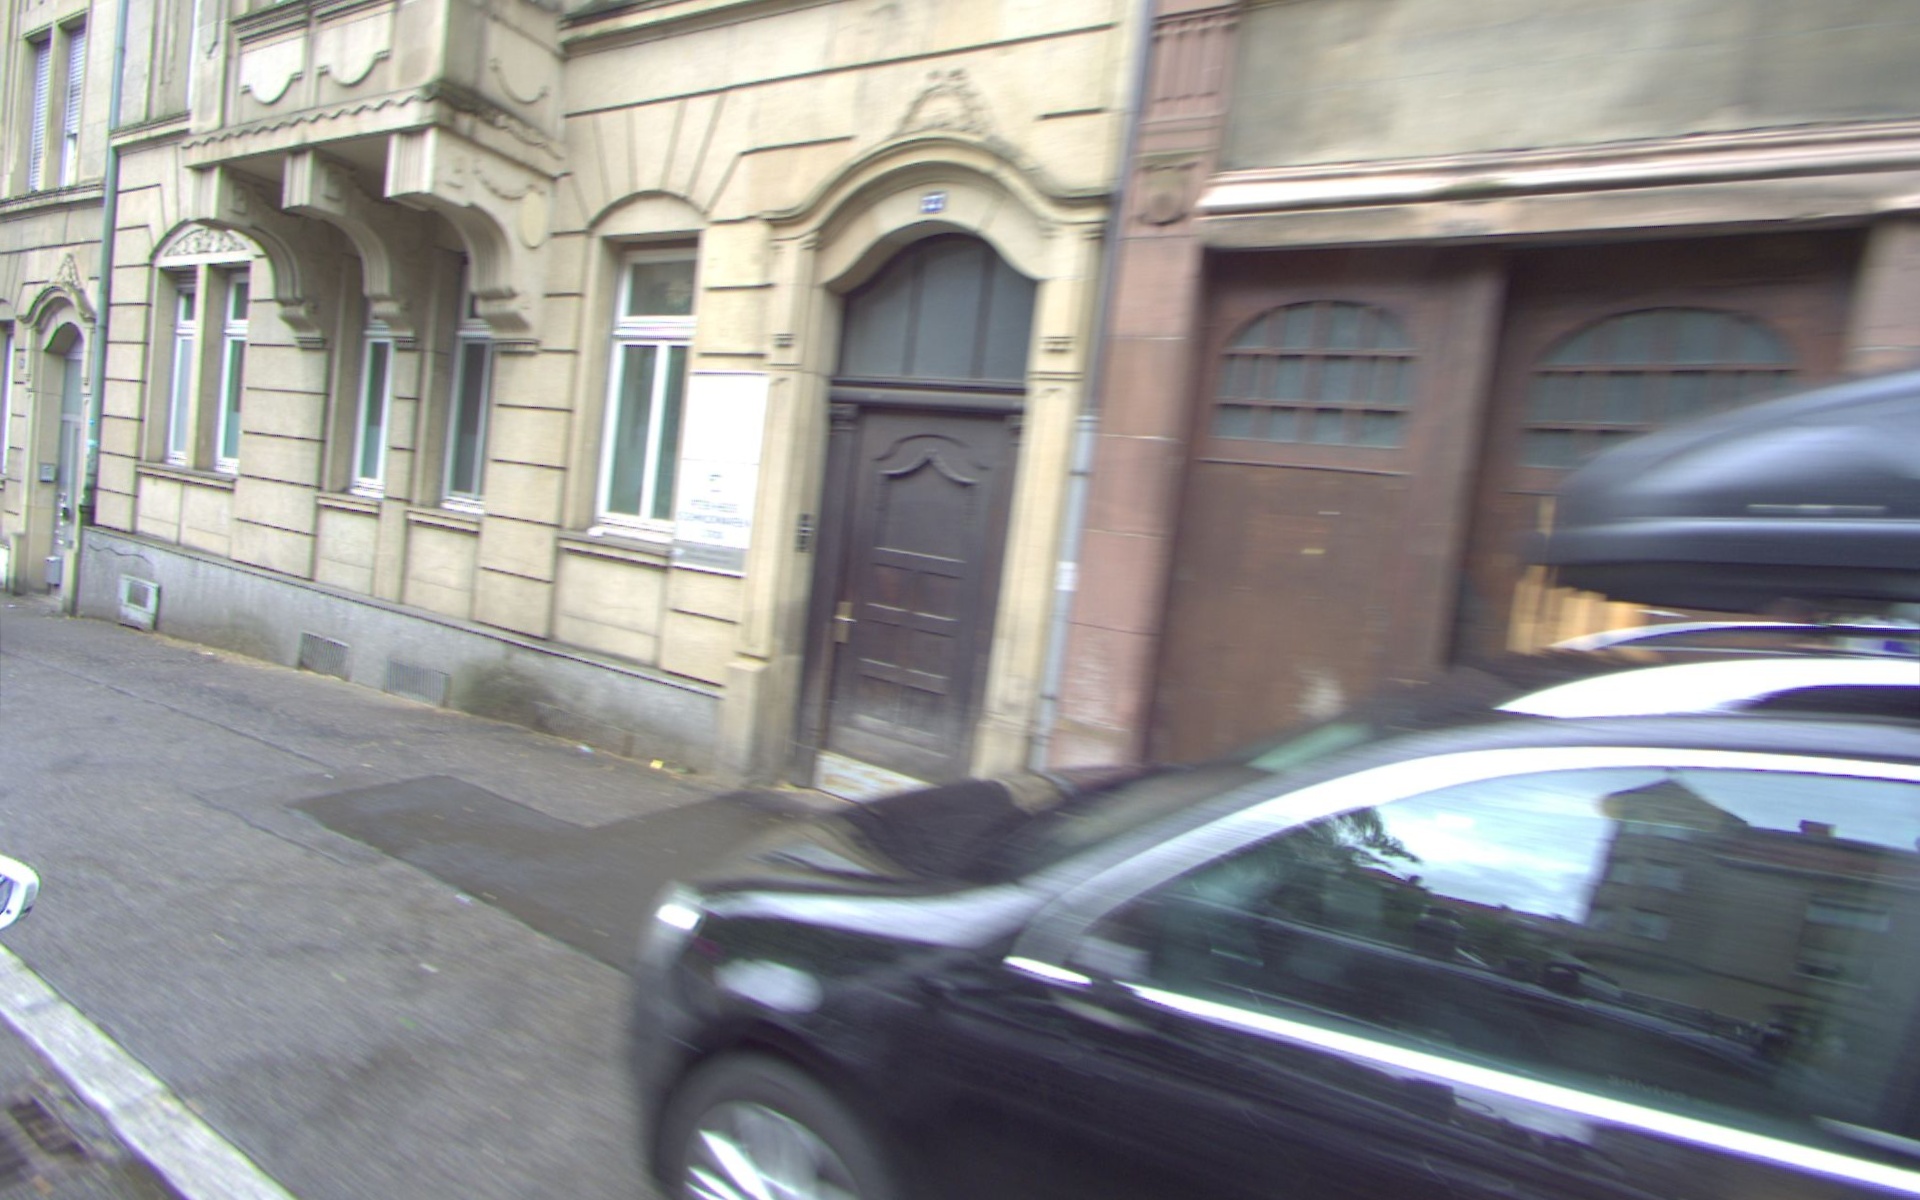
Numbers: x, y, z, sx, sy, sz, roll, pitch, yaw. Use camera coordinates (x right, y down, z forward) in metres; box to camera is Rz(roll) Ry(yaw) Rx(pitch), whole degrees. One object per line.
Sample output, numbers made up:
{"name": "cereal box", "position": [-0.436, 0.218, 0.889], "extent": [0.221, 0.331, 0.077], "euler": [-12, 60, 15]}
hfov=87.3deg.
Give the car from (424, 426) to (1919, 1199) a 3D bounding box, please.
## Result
{"name": "car", "position": [1.069, 0.662, 1.718], "extent": [4.031, 1.675, 1.757], "euler": [6, 5, 32]}
